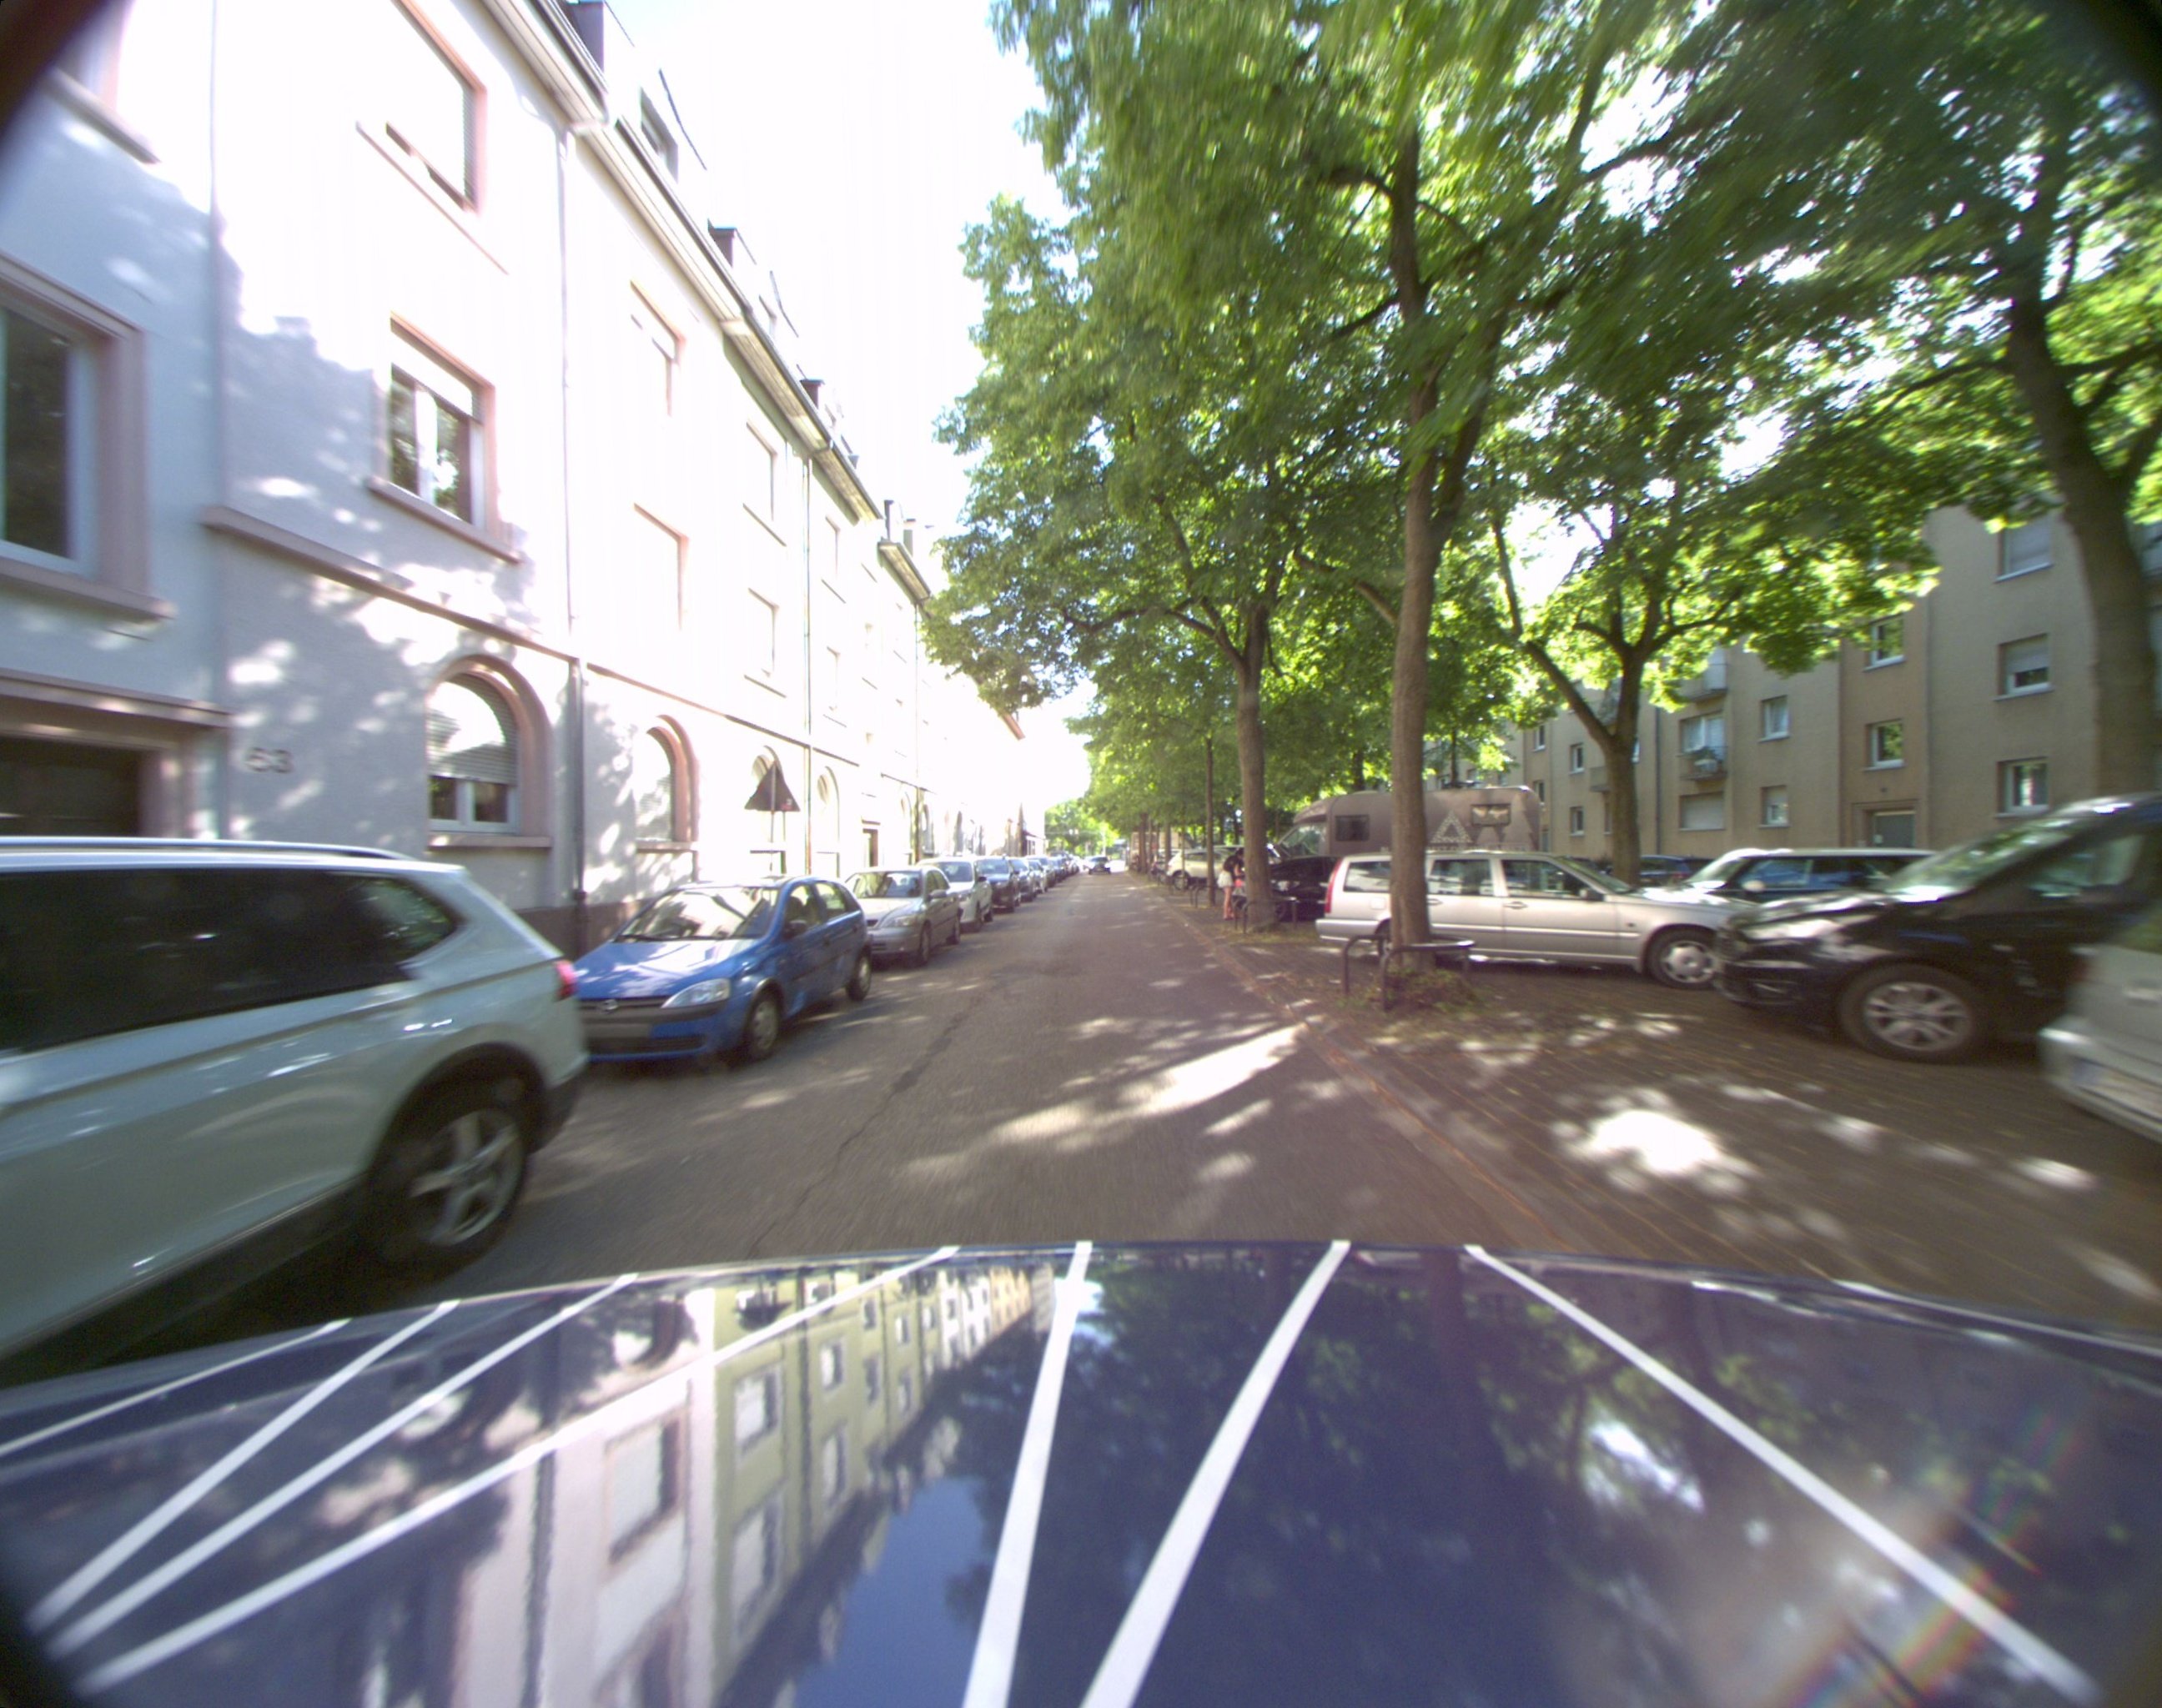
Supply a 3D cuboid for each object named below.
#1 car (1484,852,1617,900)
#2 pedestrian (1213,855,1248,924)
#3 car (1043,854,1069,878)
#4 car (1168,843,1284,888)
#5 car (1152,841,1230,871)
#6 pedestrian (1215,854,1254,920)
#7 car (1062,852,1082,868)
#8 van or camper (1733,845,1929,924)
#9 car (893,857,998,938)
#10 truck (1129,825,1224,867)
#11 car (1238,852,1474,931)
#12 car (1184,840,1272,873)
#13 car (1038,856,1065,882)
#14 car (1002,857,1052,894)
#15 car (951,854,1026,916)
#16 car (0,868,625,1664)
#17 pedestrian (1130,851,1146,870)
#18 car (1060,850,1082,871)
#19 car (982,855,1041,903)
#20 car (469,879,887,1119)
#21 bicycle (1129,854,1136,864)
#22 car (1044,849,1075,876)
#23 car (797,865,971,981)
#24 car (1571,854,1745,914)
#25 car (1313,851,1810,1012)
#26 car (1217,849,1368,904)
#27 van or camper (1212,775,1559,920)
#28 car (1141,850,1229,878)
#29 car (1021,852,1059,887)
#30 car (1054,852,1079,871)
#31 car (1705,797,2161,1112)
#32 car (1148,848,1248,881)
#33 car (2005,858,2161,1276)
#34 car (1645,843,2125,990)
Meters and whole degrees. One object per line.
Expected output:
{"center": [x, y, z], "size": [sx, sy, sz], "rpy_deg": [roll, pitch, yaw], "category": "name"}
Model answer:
{"center": [16.306, 0.702, 26.716], "size": [1.998, 1.499, 4.533], "rpy_deg": [-1, 0, 2], "category": "car"}
{"center": [3.220, 0.753, 16.307], "size": [0.615, 1.447, 0.520], "rpy_deg": [0, 1, 25], "category": "pedestrian"}
{"center": [-1.618, 0.799, 50.378], "size": [1.626, 1.489, 3.595], "rpy_deg": [-1, 0, 0], "category": "car"}
{"center": [5.742, 0.462, 30.228], "size": [4.136, 1.669, 1.762], "rpy_deg": [-1, 1, 31], "category": "car"}
{"center": [7.112, 0.136, 49.119], "size": [4.512, 1.854, 2.084], "rpy_deg": [-1, 1, 27], "category": "car"}
{"center": [3.434, 0.721, 16.943], "size": [0.710, 1.447, 0.597], "rpy_deg": [0, 1, 25], "category": "pedestrian"}
{"center": [-0.884, 0.553, 72.173], "size": [1.807, 1.455, 4.439], "rpy_deg": [-1, 0, -3], "category": "car"}
{"center": [15.968, 0.604, 16.360], "size": [1.600, 1.546, 2.697], "rpy_deg": [-1, 0, 2], "category": "van or camper"}
{"center": [-2.865, 0.864, 16.773], "size": [1.635, 1.525, 3.592], "rpy_deg": [-1, 0, 0], "category": "car"}
{"center": [7.759, -0.612, 62.202], "size": [7.305, 3.274, 2.552], "rpy_deg": [0, 1, 33], "category": "truck"}
{"center": [5.585, 0.710, 15.546], "size": [4.318, 1.416, 1.678], "rpy_deg": [-1, 0, 29], "category": "car"}
{"center": [8.622, 0.145, 44.649], "size": [4.593, 1.822, 2.022], "rpy_deg": [0, 1, 31], "category": "car"}
{"center": [-1.746, 0.860, 45.209], "size": [1.553, 1.386, 3.860], "rpy_deg": [-1, 0, -2], "category": "car"}
{"center": [-2.249, 0.893, 32.782], "size": [1.726, 1.424, 4.158], "rpy_deg": [-1, 0, 2], "category": "car"}
{"center": [-2.584, 0.813, 22.009], "size": [1.727, 1.587, 4.157], "rpy_deg": [-1, 0, -1], "category": "car"}
{"center": [-3.260, 0.930, 1.436], "size": [1.821, 1.664, 4.673], "rpy_deg": [-1, 0, 2], "category": "car"}
{"center": [4.191, 0.477, 55.665], "size": [0.751, 1.388, 0.930], "rpy_deg": [-1, 1, 33], "category": "pedestrian"}
{"center": [-0.846, 0.574, 66.285], "size": [1.766, 1.743, 4.509], "rpy_deg": [-1, 0, 0], "category": "car"}
{"center": [-2.400, 0.828, 27.176], "size": [1.727, 1.519, 4.157], "rpy_deg": [-1, 0, 0], "category": "car"}
{"center": [-3.117, 1.014, 6.850], "size": [1.621, 1.404, 3.788], "rpy_deg": [-1, 0, 2], "category": "car"}
{"center": [5.801, 0.594, 85.588], "size": [0.354, 1.066, 1.591], "rpy_deg": [-1, 0, -9], "category": "bicycle"}
{"center": [-1.515, 0.584, 55.712], "size": [1.953, 1.889, 4.846], "rpy_deg": [-1, 0, 2], "category": "car"}
{"center": [-2.890, 0.939, 12.026], "size": [1.635, 1.404, 4.088], "rpy_deg": [-1, 0, 0], "category": "car"}
{"center": [16.094, 0.759, 21.524], "size": [1.768, 1.499, 4.309], "rpy_deg": [-1, 0, 2], "category": "car"}
{"center": [5.214, 0.725, 8.831], "size": [4.476, 1.435, 1.736], "rpy_deg": [-1, 1, 34], "category": "car"}
{"center": [6.254, 0.619, 22.561], "size": [3.989, 1.498, 1.761], "rpy_deg": [0, 0, 30], "category": "car"}
{"center": [6.985, -0.116, 18.022], "size": [7.230, 2.913, 2.318], "rpy_deg": [0, 1, 29], "category": "van or camper"}
{"center": [5.766, 0.574, 42.143], "size": [4.477, 1.447, 1.791], "rpy_deg": [-1, 1, 34], "category": "car"}
{"center": [-2.072, 0.768, 39.259], "size": [1.727, 1.676, 4.157], "rpy_deg": [-1, 0, -1], "category": "car"}
{"center": [-1.129, 0.577, 61.440], "size": [1.766, 1.491, 4.238], "rpy_deg": [-1, 0, 1], "category": "car"}
{"center": [6.945, 0.542, 4.720], "size": [4.548, 1.754, 1.814], "rpy_deg": [-1, 1, 32], "category": "car"}
{"center": [5.649, 0.512, 36.886], "size": [4.411, 1.453, 1.719], "rpy_deg": [-1, 1, 34], "category": "car"}
{"center": [5.503, 0.725, 1.715], "size": [3.946, 1.435, 1.850], "rpy_deg": [-1, 0, 30], "category": "car"}
{"center": [8.961, 0.625, 8.956], "size": [3.564, 1.416, 1.678], "rpy_deg": [-1, 1, 31], "category": "car"}
